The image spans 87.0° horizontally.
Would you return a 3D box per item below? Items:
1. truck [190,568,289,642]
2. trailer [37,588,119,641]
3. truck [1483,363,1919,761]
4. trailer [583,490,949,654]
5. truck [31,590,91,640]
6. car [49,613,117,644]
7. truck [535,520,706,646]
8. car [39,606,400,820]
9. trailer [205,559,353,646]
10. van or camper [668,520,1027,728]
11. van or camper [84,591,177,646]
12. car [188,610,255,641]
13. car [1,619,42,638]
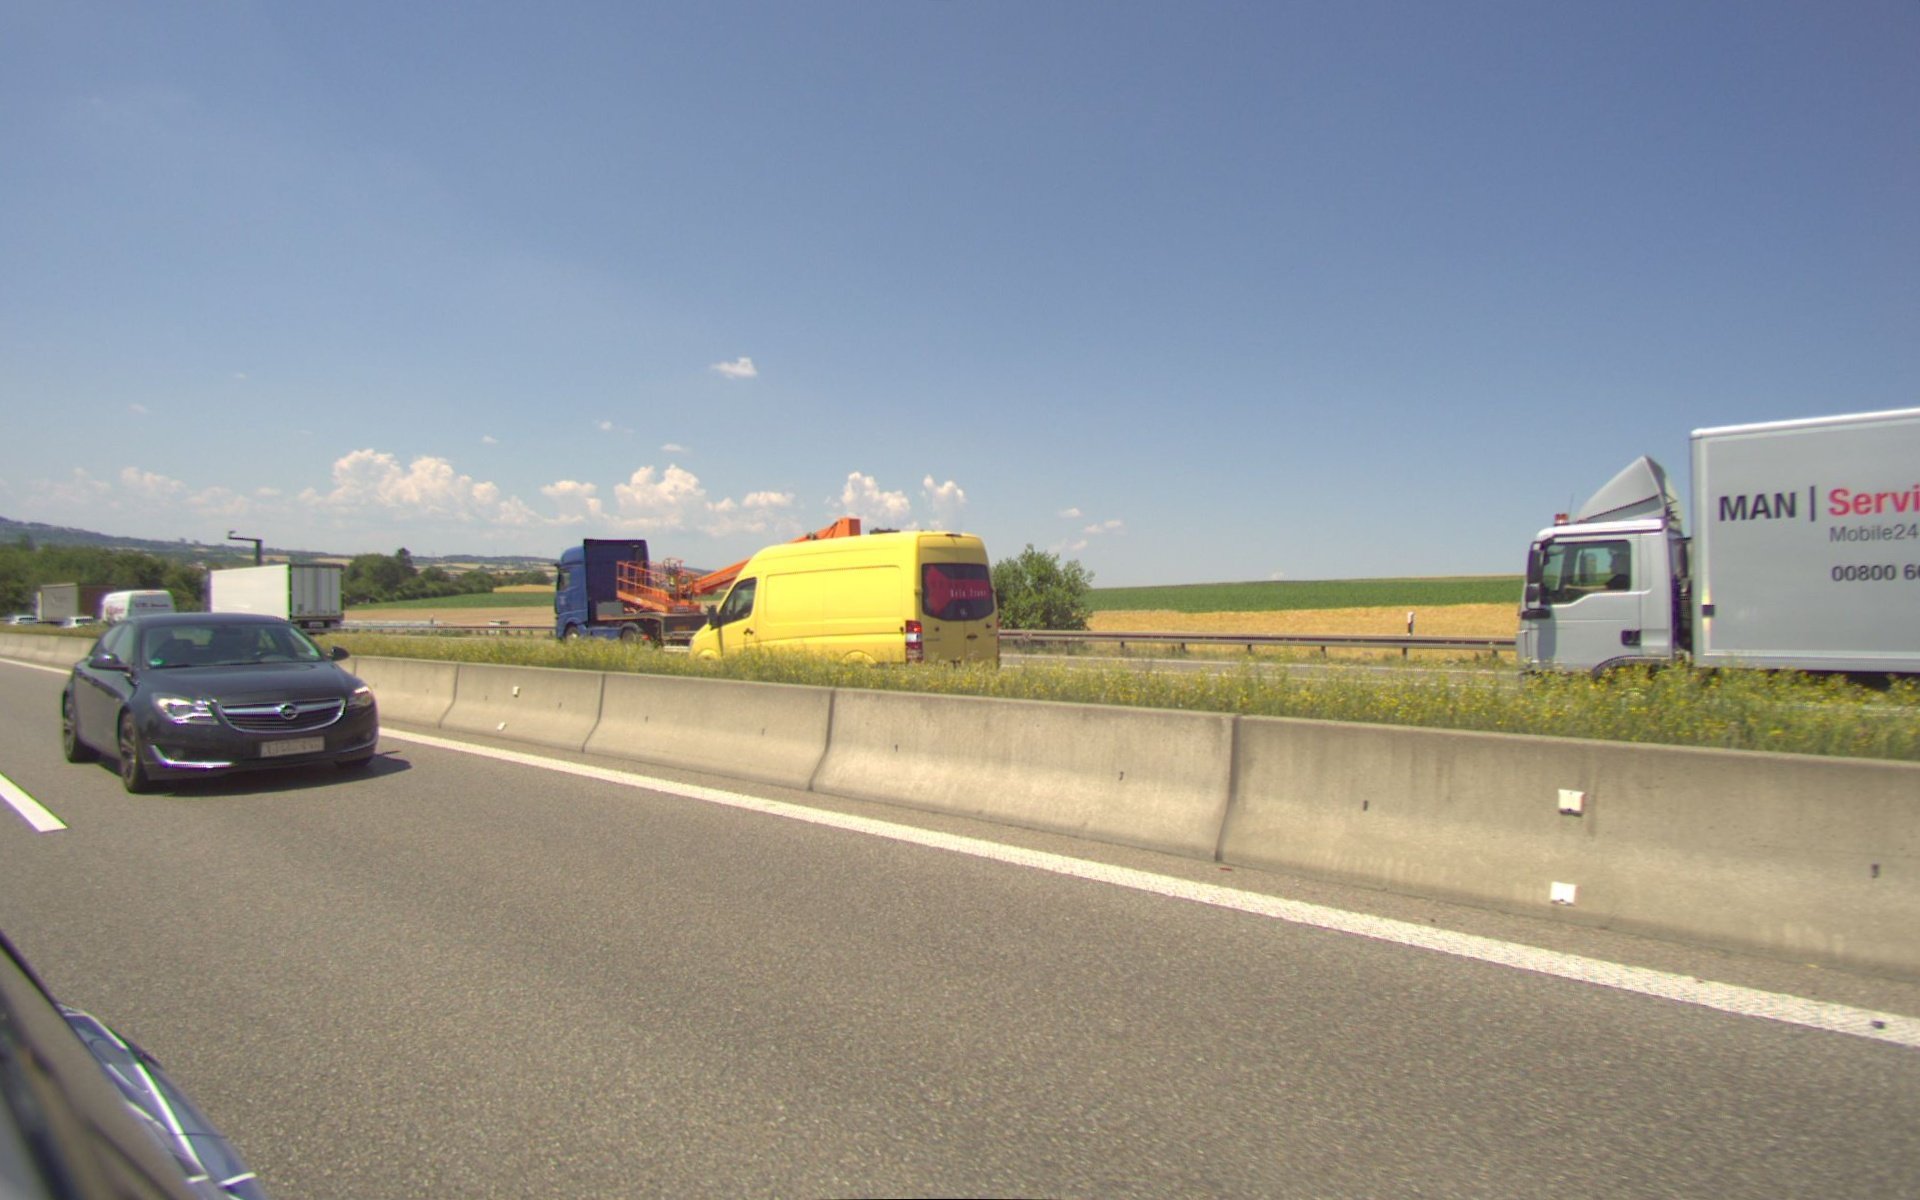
[{"bbox_3d":[-43.990,0.356,61.732,7.119,4.238,3.194,-1,-1,40],"label":"truck"},{"bbox_3d":[-77.086,1.258,88.285,14.530,4.357,3.092,-1,0,40],"label":"trailer"},{"bbox_3d":[10.148,-0.376,10.624,7.775,3.772,2.905,-2,-1,41],"label":"truck"},{"bbox_3d":[-6.399,-0.607,30.149,13.720,3.988,2.810,-1,0,41],"label":"trailer"},{"bbox_3d":[-82.119,1.324,92.422,6.140,4.360,3.101,-1,0,39],"label":"truck"},{"bbox_3d":[-48.935,1.577,56.454,5.662,1.599,1.908,-1,0,39],"label":"car"},{"bbox_3d":[-11.758,-0.495,34.809,6.133,3.968,2.748,-1,-1,40],"label":"truck"},{"bbox_3d":[-7.246,0.876,9.688,4.747,1.555,1.784,-1,-1,41],"label":"car"},{"bbox_3d":[-38.996,0.225,57.591,14.015,4.420,3.209,-1,0,40],"label":"trailer"},{"bbox_3d":[-2.014,0.353,16.074,6.136,2.728,2.062,-1,-1,42],"label":"van or camper"},{"bbox_3d":[-39.813,0.894,48.500,7.513,2.482,2.046,-1,-2,40],"label":"van or camper"},{"bbox_3d":[-37.881,1.308,51.851,4.500,1.490,1.800,-1,0,41],"label":"car"},{"bbox_3d":[-77.617,2.330,83.654,4.567,1.467,1.848,-1,0,39],"label":"car"}]
